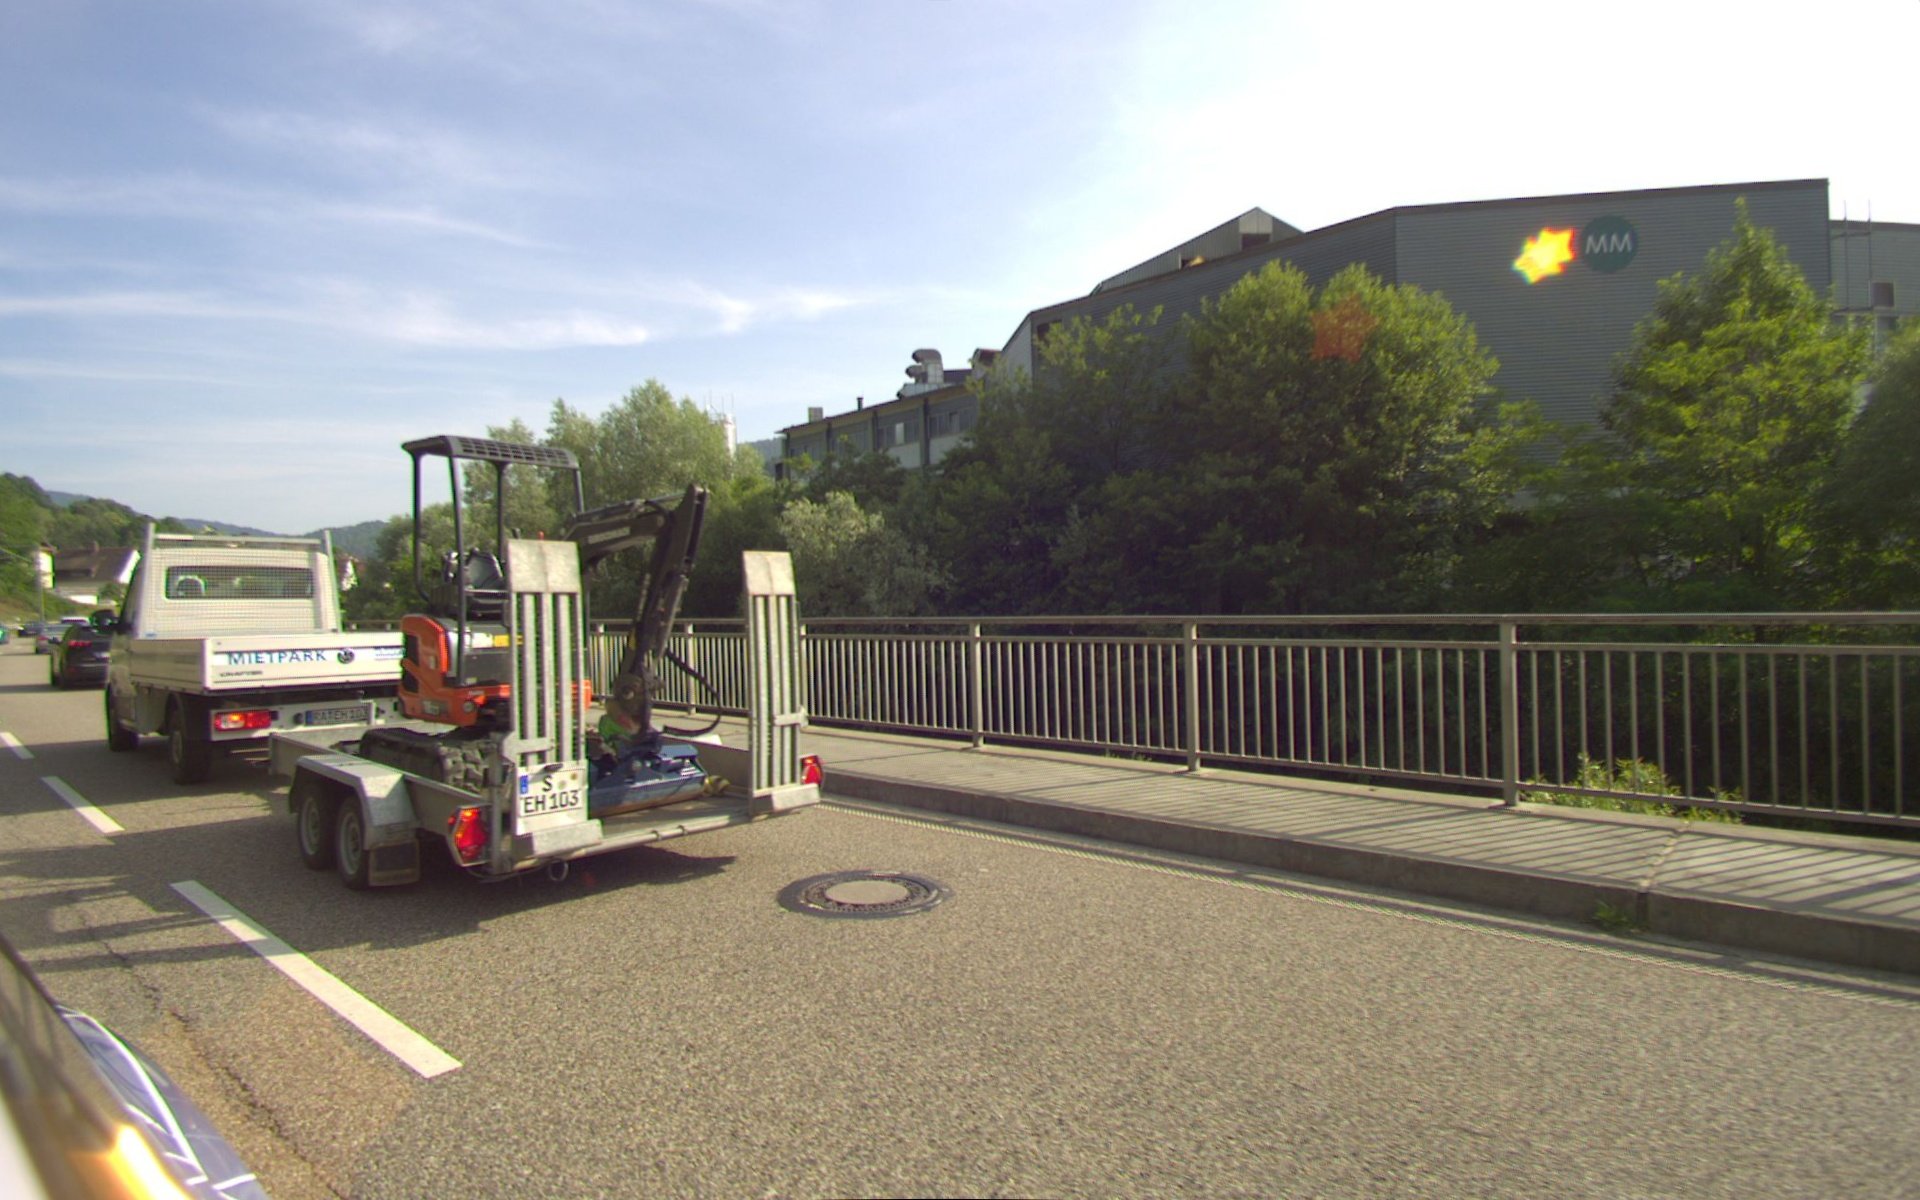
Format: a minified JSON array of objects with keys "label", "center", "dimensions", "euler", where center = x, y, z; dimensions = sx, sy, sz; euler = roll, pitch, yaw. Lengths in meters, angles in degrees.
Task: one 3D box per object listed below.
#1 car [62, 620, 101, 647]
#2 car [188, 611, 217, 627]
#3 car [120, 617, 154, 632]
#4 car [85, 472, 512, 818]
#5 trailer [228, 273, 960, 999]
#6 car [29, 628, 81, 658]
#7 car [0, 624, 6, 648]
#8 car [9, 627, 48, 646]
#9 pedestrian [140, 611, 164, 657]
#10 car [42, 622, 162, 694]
[{"label":"car","center":[-54.962,2.089,63.303],"dimensions":[1.701,1.596,3.504],"euler":[2,-3,-43]},{"label":"car","center":[-90.259,2.247,120.600],"dimensions":[1.965,1.874,4.013],"euler":[-1,0,-25]},{"label":"car","center":[-96.497,2.910,118.669],"dimensions":[1.965,1.693,4.013],"euler":[1,-2,-22]},{"label":"car","center":[-7.154,0.383,10.483],"dimensions":[6.576,2.551,2.135],"euler":[-1,-1,42]},{"label":"trailer","center":[-2.688,0.168,6.401],"dimensions":[5.346,2.737,2.099],"euler":[-1,-1,42]},{"label":"car","center":[-41.558,1.952,46.445],"dimensions":[1.566,1.320,3.502],"euler":[2,-3,-45]},{"label":"car","center":[-58.449,2.145,60.495],"dimensions":[1.723,1.443,3.338],"euler":[2,-2,-39]},{"label":"car","center":[-70.886,2.757,77.054],"dimensions":[1.626,1.443,3.340],"euler":[2,-2,-34]},{"label":"pedestrian","center":[-33.088,1.372,41.448],"dimensions":[0.709,1.832,0.877],"euler":[0,-1,-43]},{"label":"car","center":[-20.059,1.294,23.607],"dimensions":[3.862,1.490,1.770],"euler":[-1,-1,44]}]
